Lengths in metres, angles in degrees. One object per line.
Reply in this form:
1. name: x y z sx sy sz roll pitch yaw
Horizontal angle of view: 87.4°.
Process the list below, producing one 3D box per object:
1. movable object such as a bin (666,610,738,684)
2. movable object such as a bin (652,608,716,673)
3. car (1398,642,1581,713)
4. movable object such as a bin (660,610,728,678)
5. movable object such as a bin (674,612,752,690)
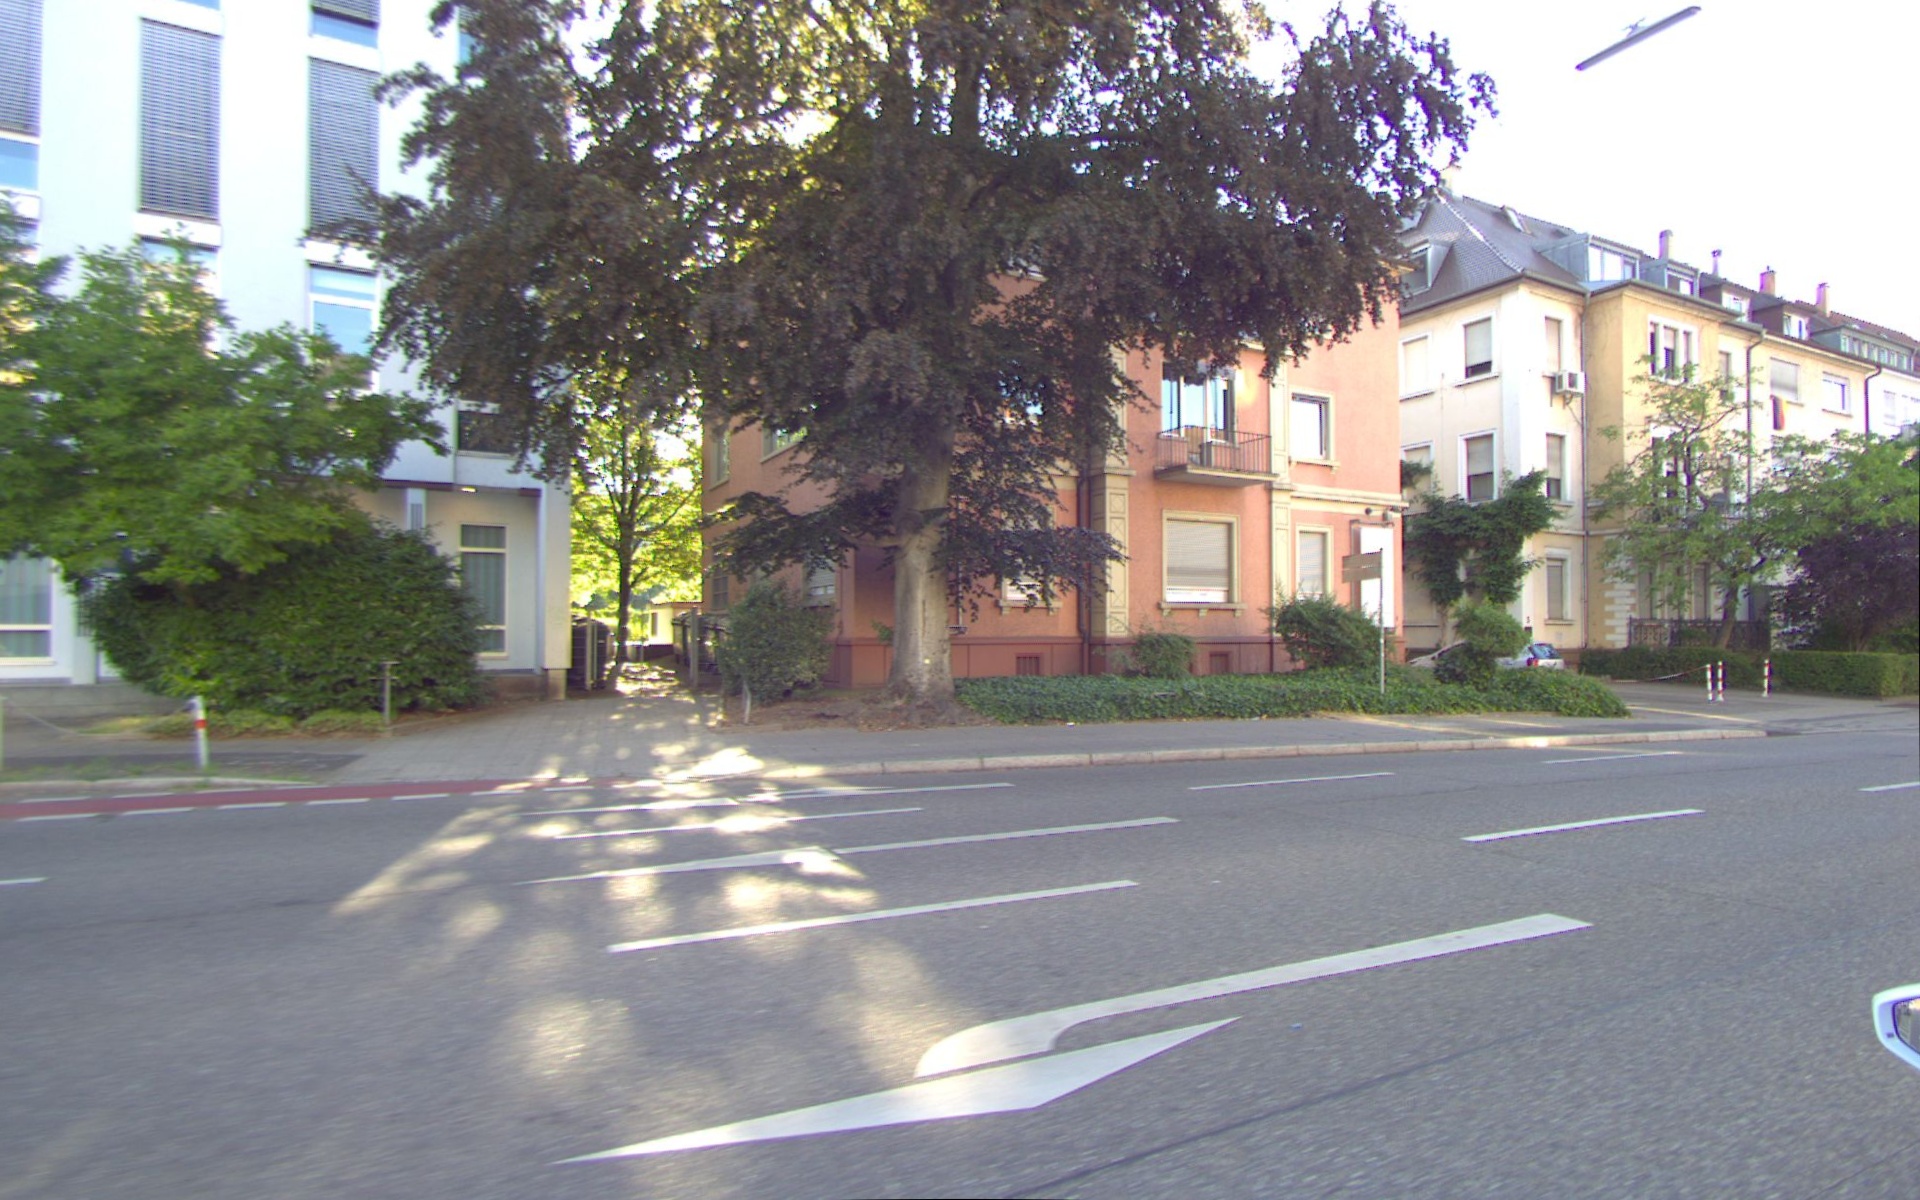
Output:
1. movable object such as a bin: -6.157 1.099 23.945 1.437 1.673 1.499 1 -1 -25
2. movable object such as a bin: -7.411 1.066 26.895 1.437 1.673 1.499 1 -1 -25
3. car: 12.622 1.789 24.134 1.795 1.505 3.479 1 -2 -31
4. movable object such as a bin: -6.757 1.100 25.466 1.437 1.673 1.499 1 -1 -25
5. movable object such as a bin: -5.542 1.127 22.494 1.437 1.673 1.499 1 -1 -25
